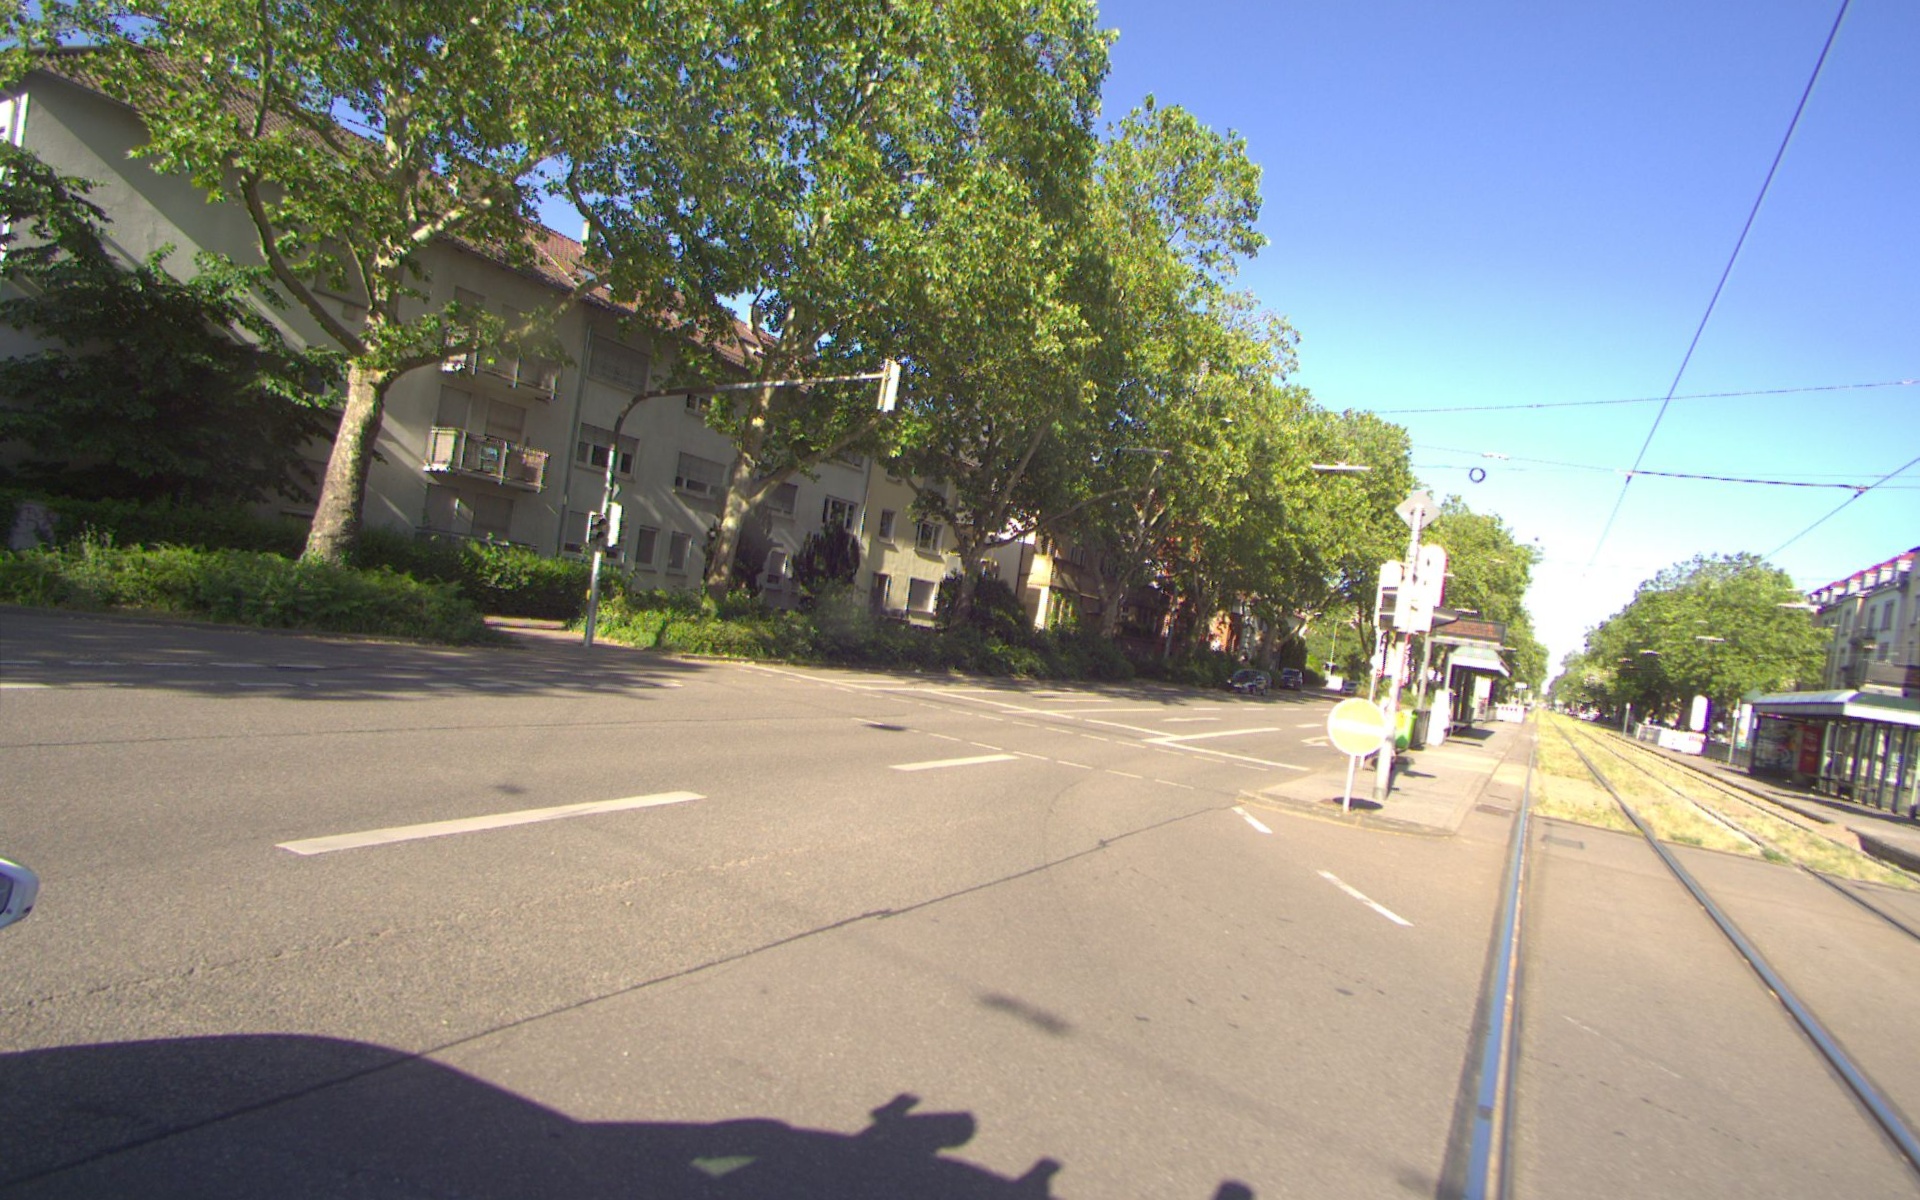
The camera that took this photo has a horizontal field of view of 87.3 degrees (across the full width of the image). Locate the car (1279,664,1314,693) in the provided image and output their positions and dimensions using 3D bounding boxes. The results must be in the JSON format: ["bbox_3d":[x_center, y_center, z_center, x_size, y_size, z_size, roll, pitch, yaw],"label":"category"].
[{"bbox_3d":[30.115,7.041,89.897,1.966,2.035,3.999,9,-2,30],"label":"car"}]

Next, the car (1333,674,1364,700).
[{"bbox_3d":[37.675,8.467,97.499,1.966,2.035,3.999,9,-2,30],"label":"car"}]

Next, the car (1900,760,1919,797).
[{"bbox_3d":[54.667,10.175,56.147,1.995,1.917,3.996,9,0,29],"label":"car"}]

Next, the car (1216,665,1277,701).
[{"bbox_3d":[16.751,4.862,58.746,1.804,1.424,3.874,9,-3,42],"label":"car"}]

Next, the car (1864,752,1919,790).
[{"bbox_3d":[58.915,10.767,63.429,1.769,1.811,3.996,9,0,29],"label":"car"}]

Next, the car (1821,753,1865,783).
[{"bbox_3d":[63.377,12.043,72.232,1.535,1.625,3.570,9,0,31],"label":"car"}]
